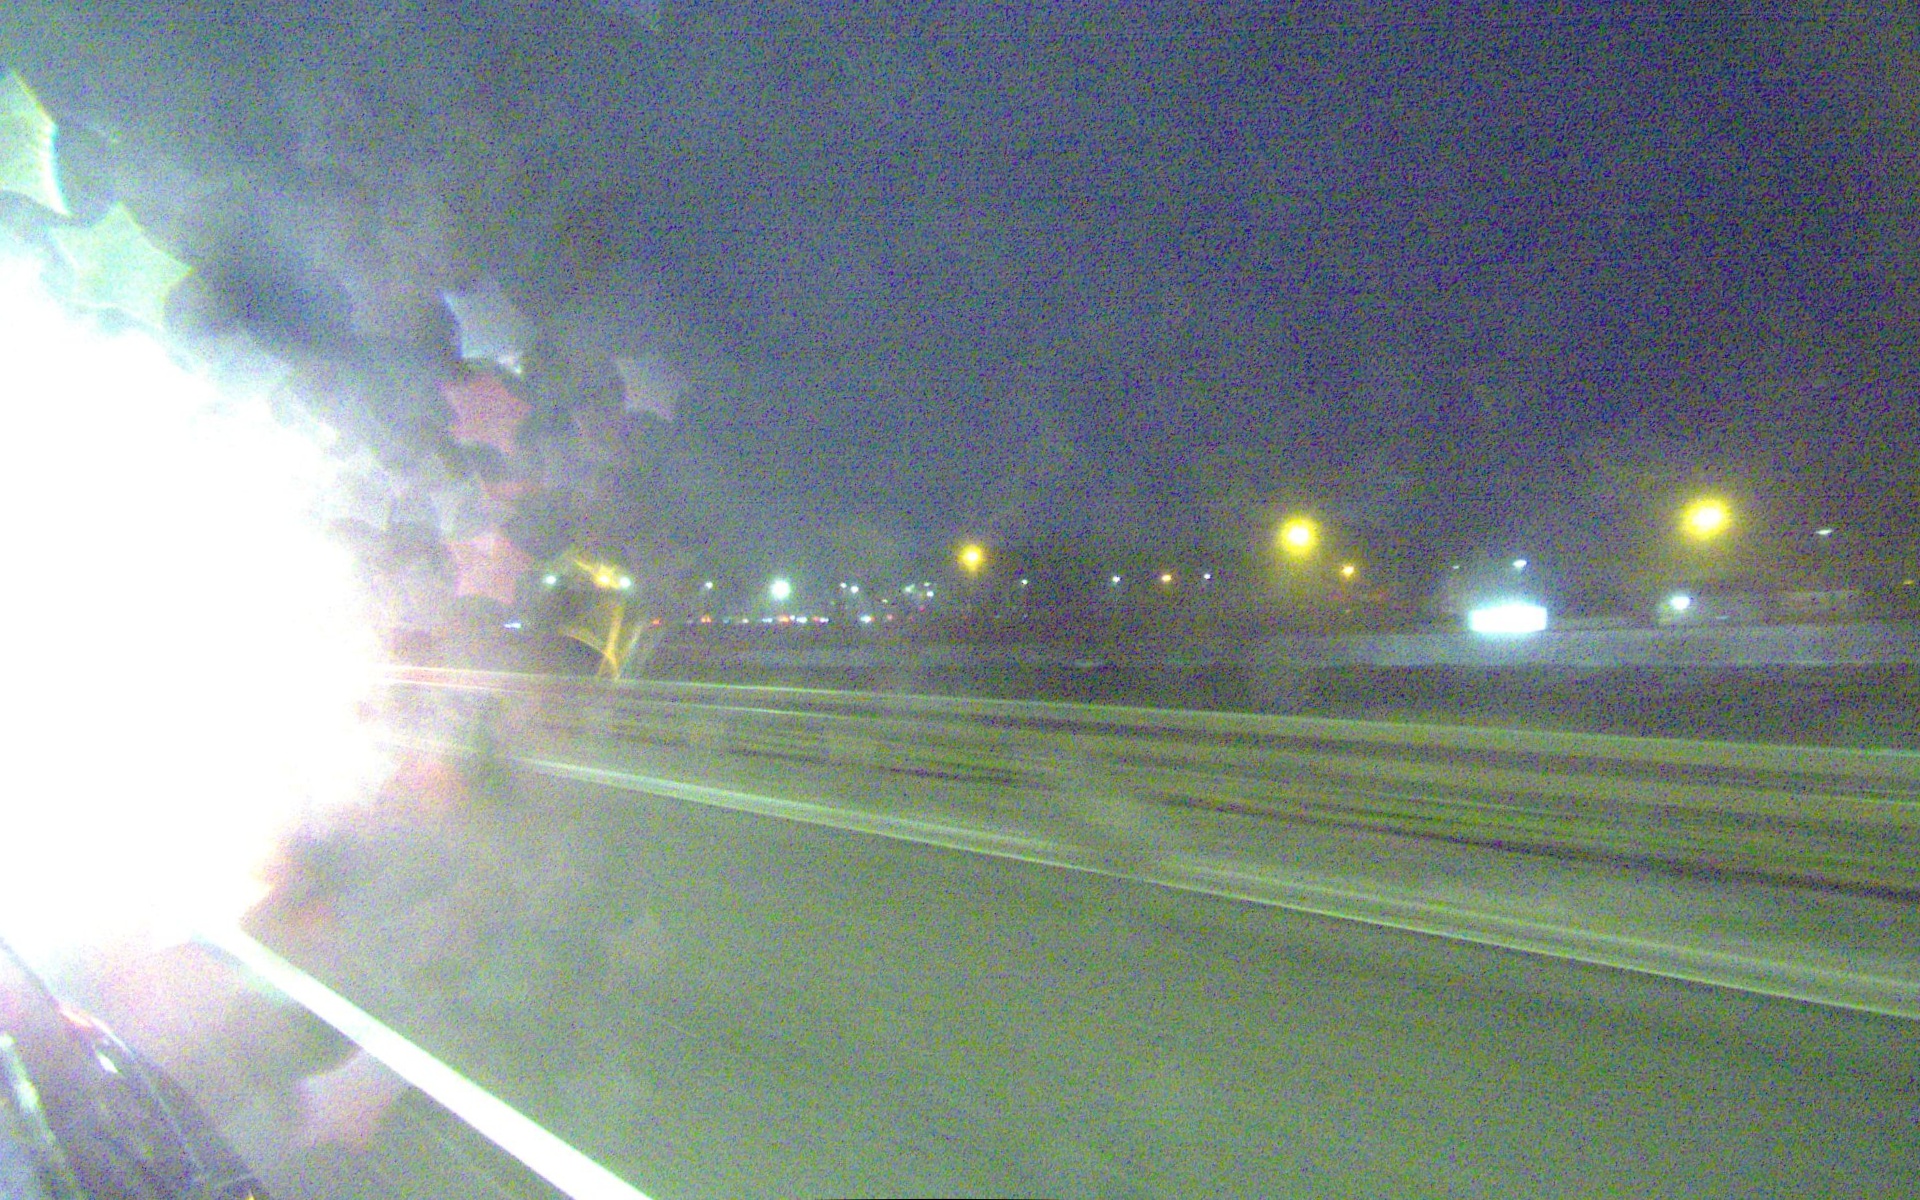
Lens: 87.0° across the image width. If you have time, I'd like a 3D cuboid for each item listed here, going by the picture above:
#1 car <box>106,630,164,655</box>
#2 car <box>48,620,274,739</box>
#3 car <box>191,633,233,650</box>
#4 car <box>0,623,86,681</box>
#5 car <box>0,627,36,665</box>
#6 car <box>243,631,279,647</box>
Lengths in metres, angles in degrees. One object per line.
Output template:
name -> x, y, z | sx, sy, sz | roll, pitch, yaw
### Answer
car -> -49.025, 2.509, 60.241 | 1.767, 1.402, 4.606 | 1, -2, -28
car -> -11.655, 1.042, 14.653 | 4.324, 1.442, 1.742 | -1, -1, 40
car -> -65.713, 3.624, 88.989 | 1.965, 1.495, 4.013 | 0, -2, -21
car -> -25.628, 1.393, 28.133 | 4.047, 1.490, 1.600 | -2, -2, 43
car -> -49.950, 2.413, 52.992 | 1.968, 1.949, 4.008 | 1, -2, -38
car -> -62.080, 3.466, 89.973 | 1.704, 1.415, 3.875 | 0, -2, -20
